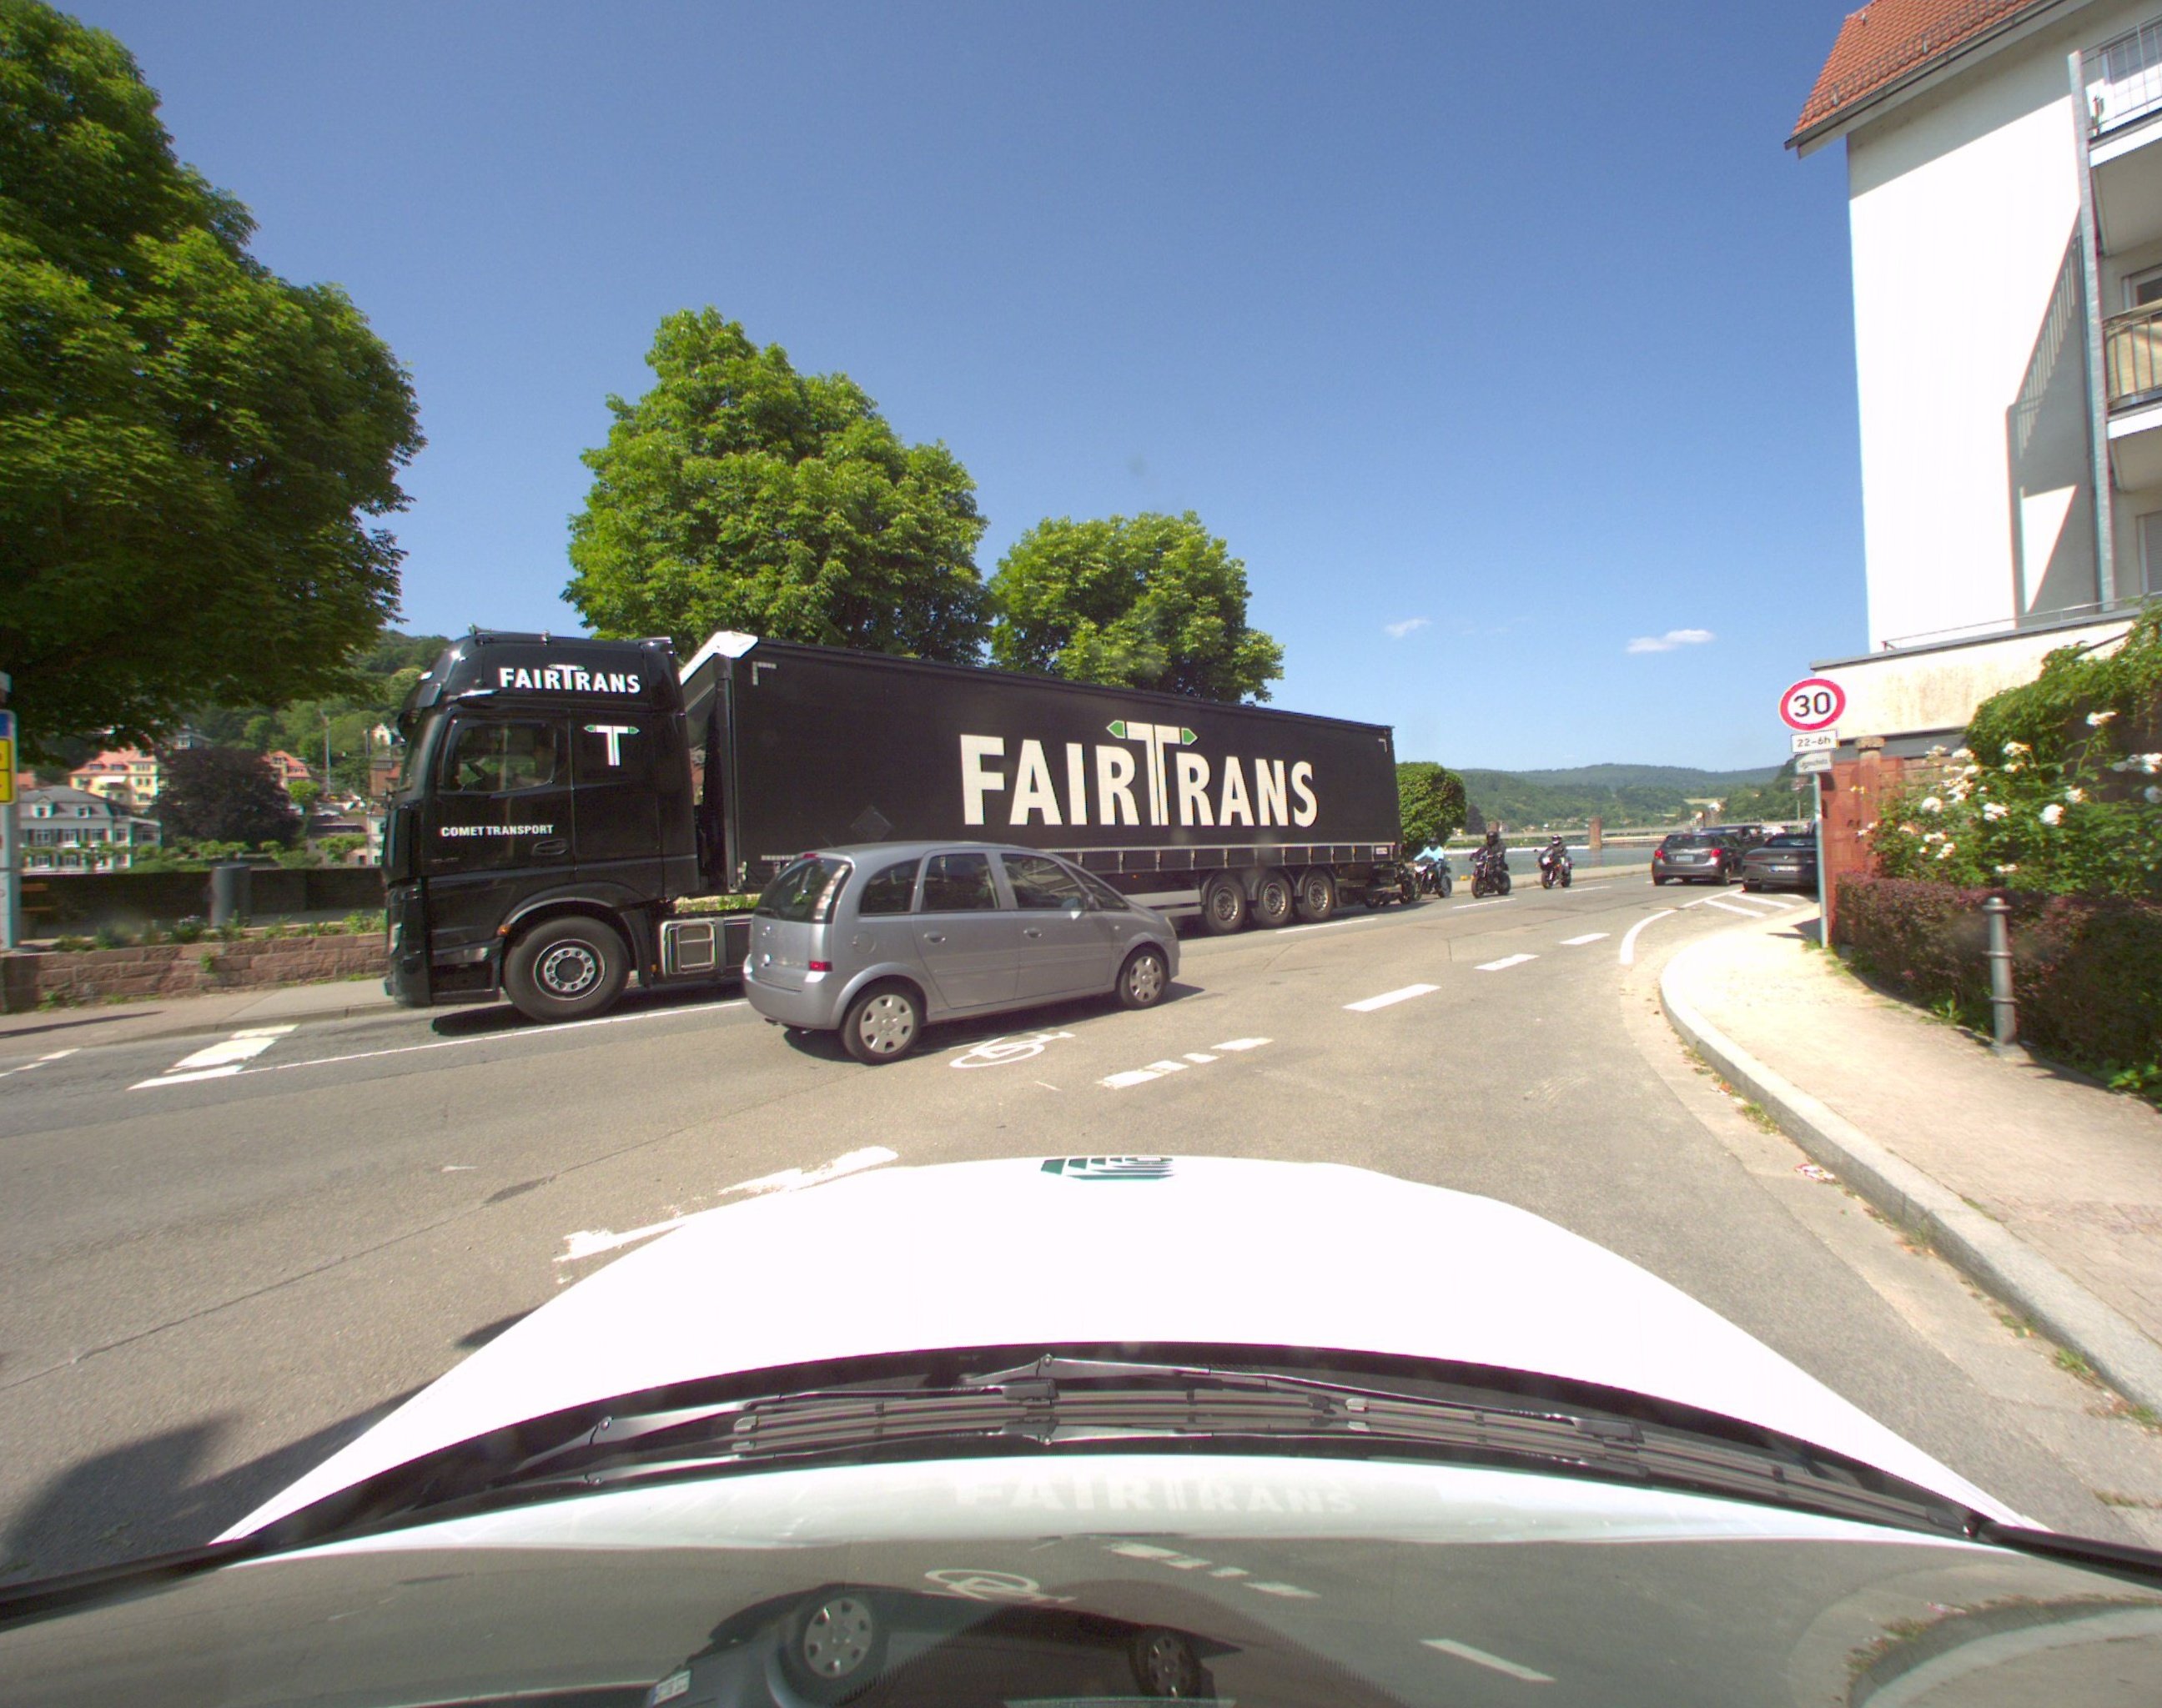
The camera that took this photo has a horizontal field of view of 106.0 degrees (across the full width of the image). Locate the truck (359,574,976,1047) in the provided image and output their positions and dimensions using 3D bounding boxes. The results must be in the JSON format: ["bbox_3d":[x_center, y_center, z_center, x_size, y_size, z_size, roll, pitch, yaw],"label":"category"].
[{"bbox_3d":[-4.681,-0.396,9.955,5.962,4.071,2.806,-2,-2,-39],"label":"truck"}]

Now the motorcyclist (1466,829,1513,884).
[{"bbox_3d":[10.581,0.070,21.087,0.804,1.366,0.780,-2,-1,-39],"label":"motorcyclist"}]

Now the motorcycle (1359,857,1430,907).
[{"bbox_3d":[7.823,0.673,20.296,2.103,1.123,0.628,-2,-3,-40],"label":"motorcycle"}]

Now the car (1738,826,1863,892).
[{"bbox_3d":[17.043,0.082,19.242,3.759,1.399,1.673,-2,0,-40],"label":"car"}]

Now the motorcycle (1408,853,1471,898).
[{"bbox_3d":[9.822,0.585,22.302,2.103,1.123,0.628,-2,-3,-40],"label":"motorcycle"}]

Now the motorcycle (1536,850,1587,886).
[{"bbox_3d":[14.355,0.410,24.310,1.824,1.024,0.651,-2,-1,-39],"label":"motorcycle"}]

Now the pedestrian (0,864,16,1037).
[{"bbox_3d":[-11.609,1.014,8.281,0.704,1.802,0.577,-2,-1,-16],"label":"pedestrian"}]

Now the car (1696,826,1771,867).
[{"bbox_3d":[28.398,-0.348,35.416,3.793,1.669,1.752,-2,0,-39],"label":"car"}]

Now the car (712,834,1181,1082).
[{"bbox_3d":[-1.033,0.668,7.235,3.759,1.610,1.673,-2,0,-40],"label":"car"}]

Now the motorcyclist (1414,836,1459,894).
[{"bbox_3d":[9.705,0.305,22.241,0.996,1.525,0.658,-2,-2,-39],"label":"motorcyclist"}]

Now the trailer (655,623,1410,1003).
[{"bbox_3d":[0.613,-0.577,14.185,13.840,4.104,2.809,-2,-2,-39],"label":"trailer"}]

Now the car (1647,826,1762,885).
[{"bbox_3d":[17.553,0.021,22.861,3.901,1.498,1.707,-2,-1,-40],"label":"car"}]

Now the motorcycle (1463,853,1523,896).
[{"bbox_3d":[10.684,0.529,21.112,1.824,1.024,0.651,-2,-1,-39],"label":"motorcycle"}]

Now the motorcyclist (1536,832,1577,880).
[{"bbox_3d":[14.136,0.058,24.223,0.941,1.366,0.711,-2,-1,-39],"label":"motorcyclist"}]

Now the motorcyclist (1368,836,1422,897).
[{"bbox_3d":[7.838,0.302,20.314,0.996,1.460,0.772,-2,-2,-39],"label":"motorcyclist"}]
